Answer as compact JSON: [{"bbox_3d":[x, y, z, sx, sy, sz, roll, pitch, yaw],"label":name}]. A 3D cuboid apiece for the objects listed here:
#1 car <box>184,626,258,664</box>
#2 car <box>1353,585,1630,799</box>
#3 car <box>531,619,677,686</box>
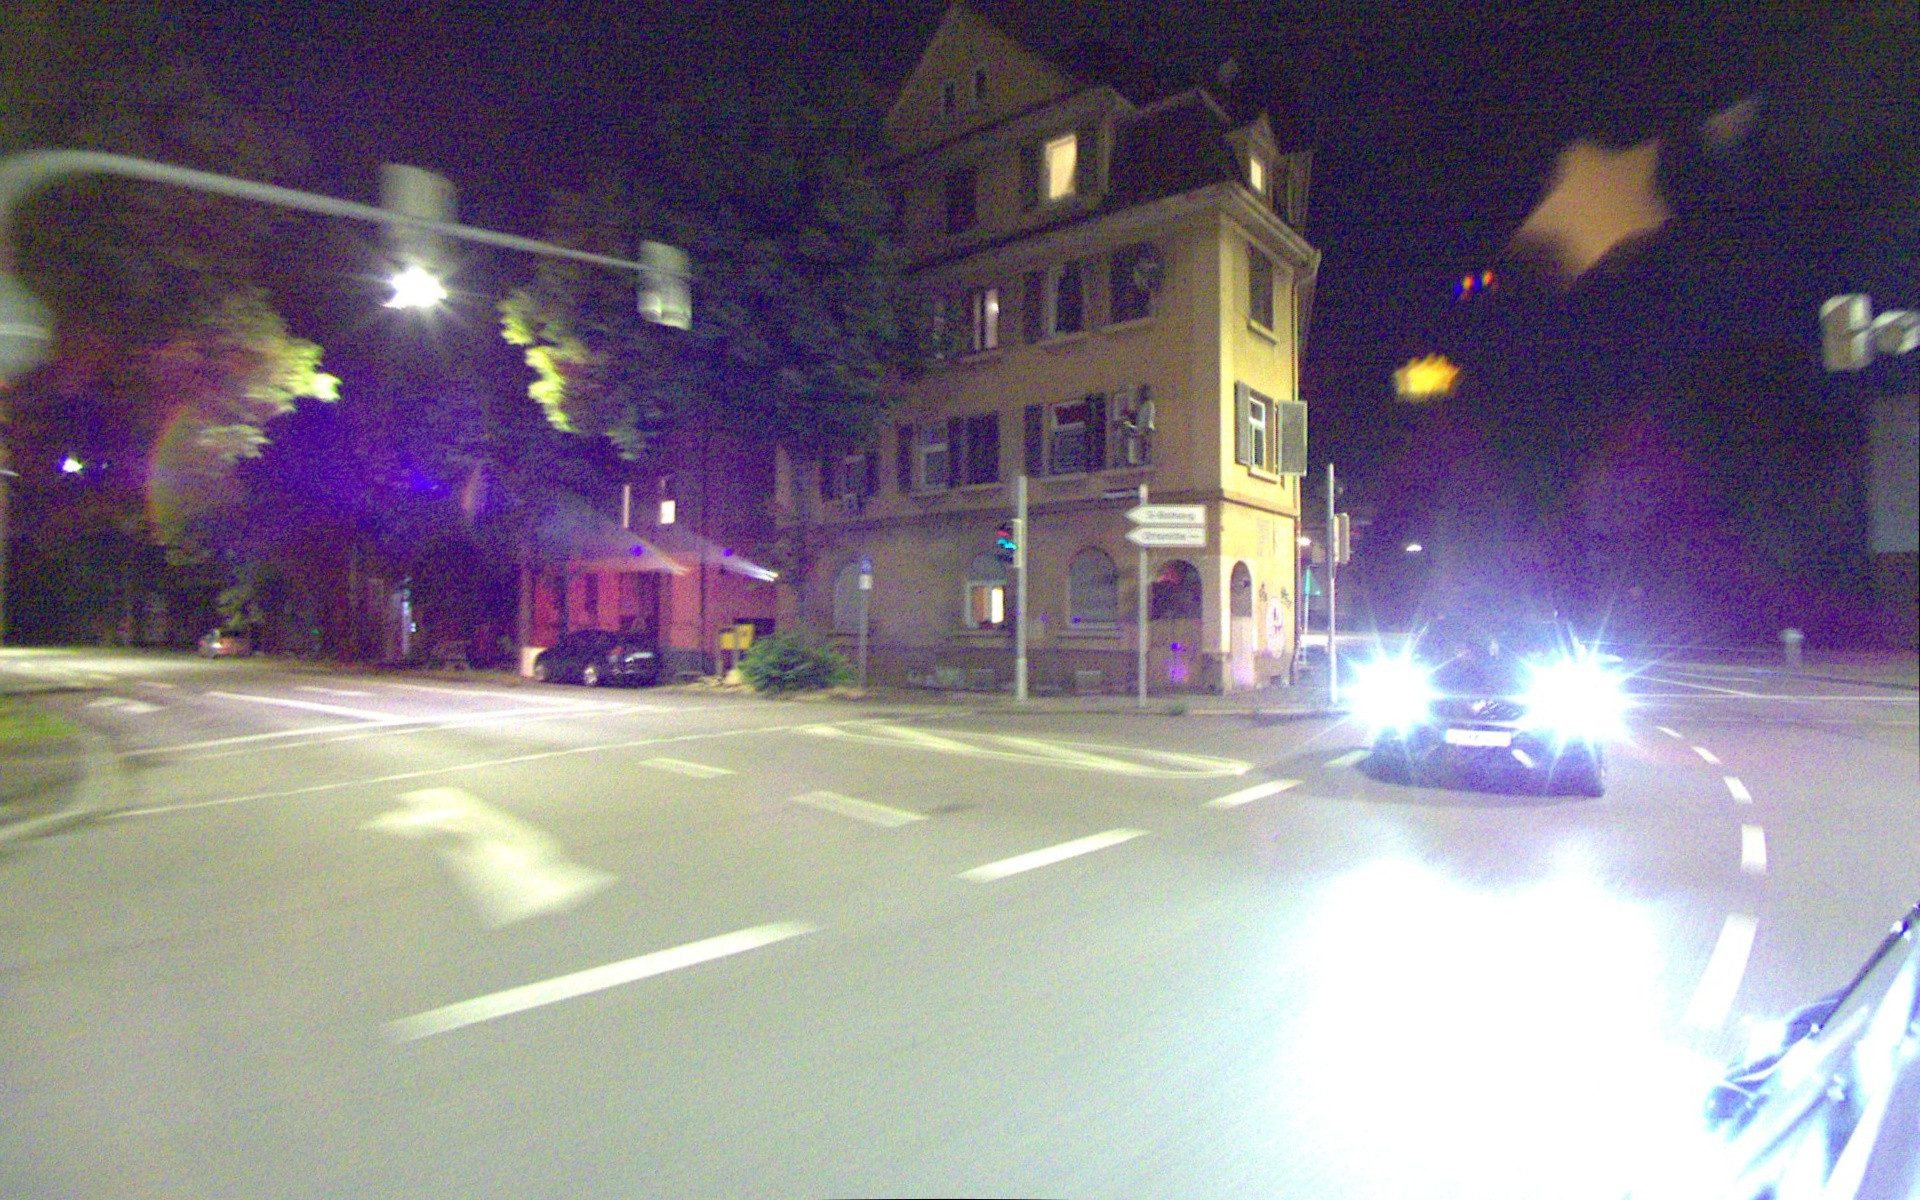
[{"bbox_3d":[-35.144,2.151,48.102,3.882,1.685,1.971,-4,-4,40],"label":"car"},{"bbox_3d":[5.299,0.730,9.962,1.984,1.637,3.954,-1,-1,32],"label":"car"},{"bbox_3d":[-9.341,1.326,26.462,3.984,1.610,1.969,-2,-2,42],"label":"car"}]
